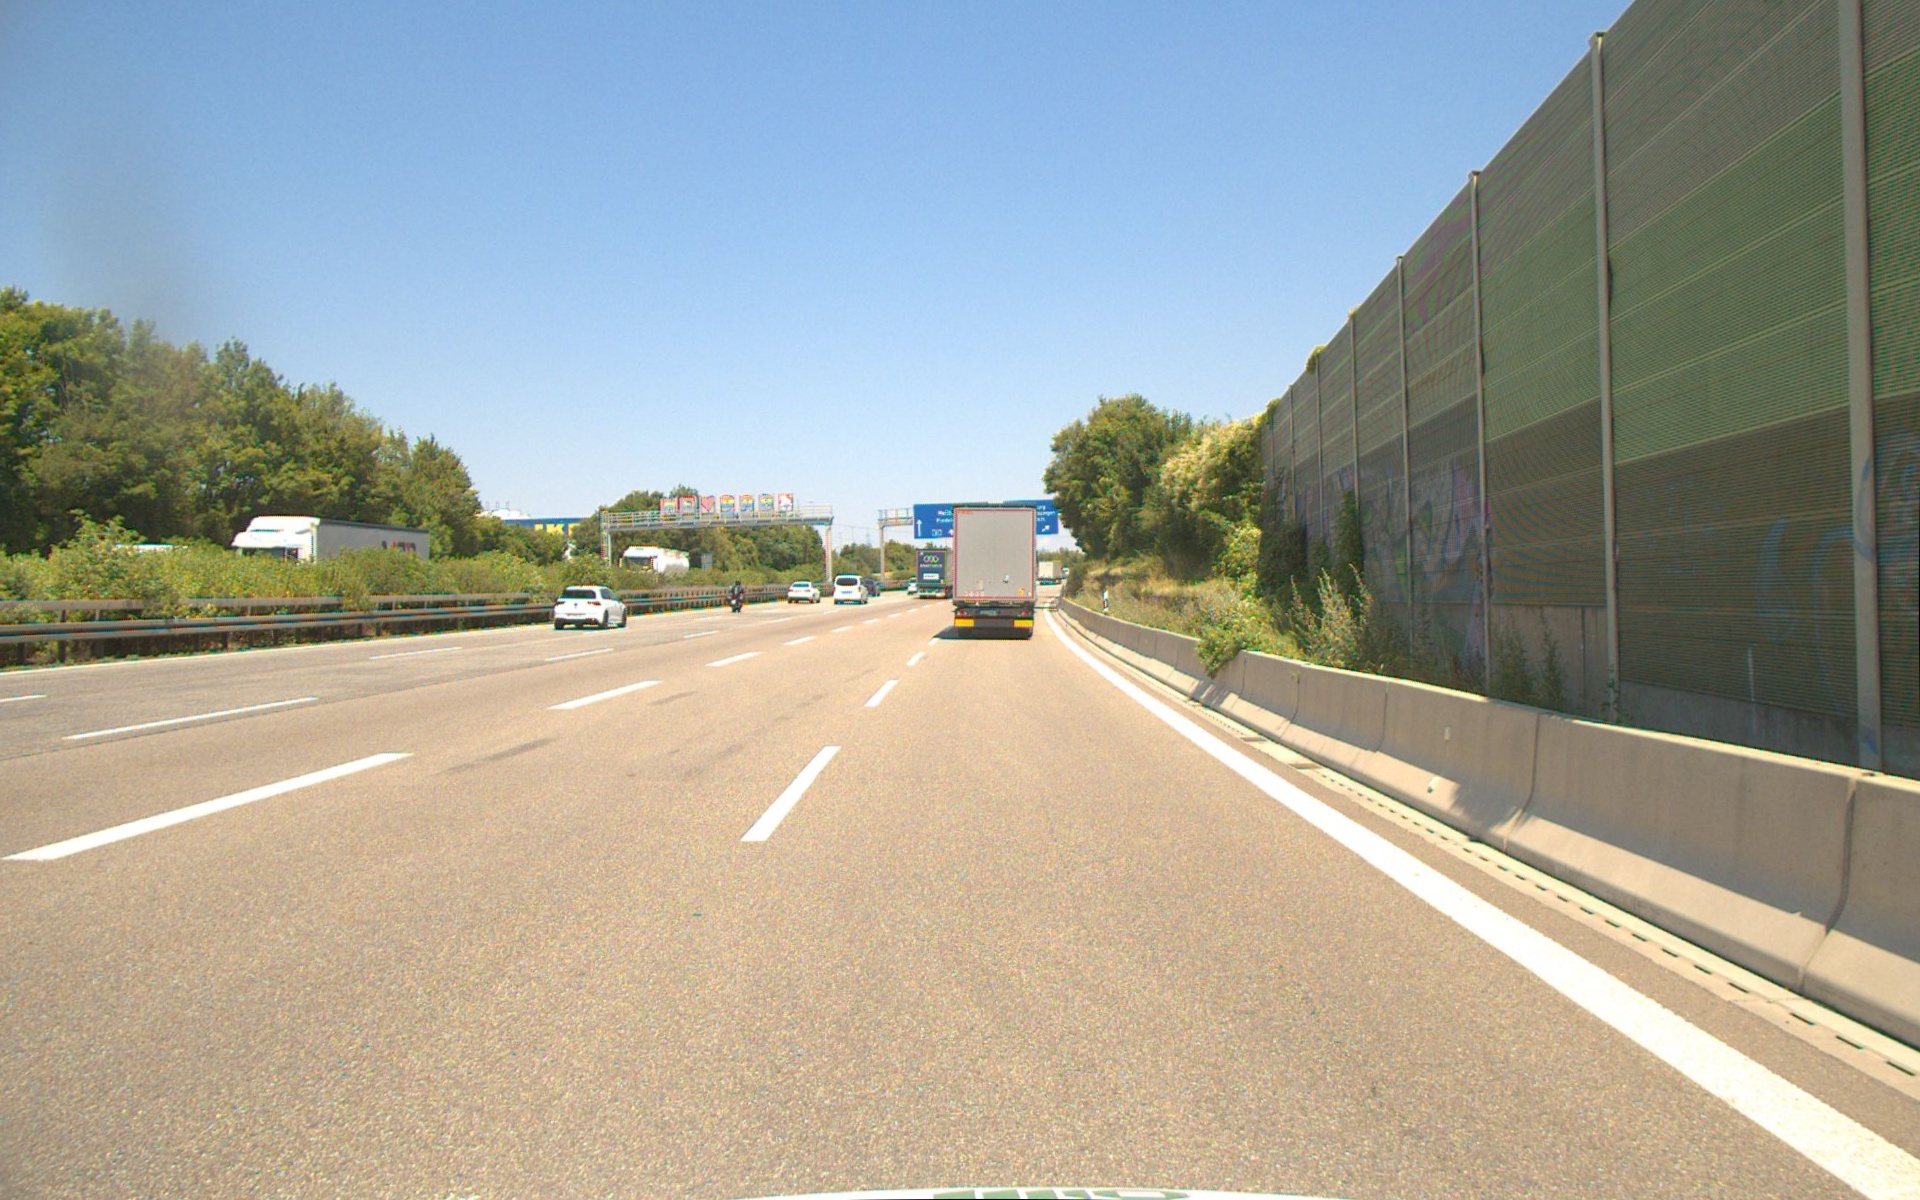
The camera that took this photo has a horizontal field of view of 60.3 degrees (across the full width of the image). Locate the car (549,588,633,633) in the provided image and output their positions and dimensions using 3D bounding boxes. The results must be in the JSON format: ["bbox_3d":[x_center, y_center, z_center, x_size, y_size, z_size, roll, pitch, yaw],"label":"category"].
[{"bbox_3d":[-12.675,0.333,57.087,1.745,1.466,4.669,0,0,1],"label":"car"}]

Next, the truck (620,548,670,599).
[{"bbox_3d":[-25.025,-2.100,131.754,2.639,3.957,5.747,1,1,2],"label":"truck"}]

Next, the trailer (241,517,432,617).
[{"bbox_3d":[-28.505,-1.435,76.709,3.322,4.161,13.929,0,0,1],"label":"trailer"}]

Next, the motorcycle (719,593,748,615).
[{"bbox_3d":[-11.663,0.208,85.272,0.893,1.108,2.851,0,0,4],"label":"motorcycle"}]

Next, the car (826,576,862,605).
[{"bbox_3d":[-7.781,-0.654,111.194,1.890,1.884,4.693,-1,0,2],"label":"car"}]

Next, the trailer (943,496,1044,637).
[{"bbox_3d":[1.301,-0.977,54.727,2.866,4.086,12.043,-1,0,3],"label":"trailer"}]

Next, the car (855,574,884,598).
[{"bbox_3d":[-7.498,-1.153,137.449,1.837,1.838,5.128,0,-1,4],"label":"car"}]

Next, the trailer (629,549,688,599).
[{"bbox_3d":[-24.812,-2.156,136.690,2.634,3.956,9.738,1,1,2],"label":"trailer"}]

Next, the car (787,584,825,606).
[{"bbox_3d":[-10.538,-0.326,113.574,1.837,1.466,5.128,0,-1,4],"label":"car"}]

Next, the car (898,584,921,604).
[{"bbox_3d":[-4.896,-0.551,161.664,1.864,1.884,4.633,-1,0,3],"label":"car"}]

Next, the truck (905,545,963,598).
[{"bbox_3d":[-2.097,-2.425,141.719,3.668,4.344,14.504,1,1,4],"label":"truck"}]

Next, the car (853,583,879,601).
[{"bbox_3d":[-8.311,-0.671,147.129,1.720,1.433,5.041,-1,-1,4],"label":"car"}]

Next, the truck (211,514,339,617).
[{"bbox_3d":[-28.602,-1.417,69.290,3.264,4.161,4.829,0,0,1],"label":"truck"}]

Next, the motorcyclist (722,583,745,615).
[{"bbox_3d":[-11.672,-0.057,85.218,0.874,1.625,1.300,0,-1,4],"label":"motorcyclist"}]
